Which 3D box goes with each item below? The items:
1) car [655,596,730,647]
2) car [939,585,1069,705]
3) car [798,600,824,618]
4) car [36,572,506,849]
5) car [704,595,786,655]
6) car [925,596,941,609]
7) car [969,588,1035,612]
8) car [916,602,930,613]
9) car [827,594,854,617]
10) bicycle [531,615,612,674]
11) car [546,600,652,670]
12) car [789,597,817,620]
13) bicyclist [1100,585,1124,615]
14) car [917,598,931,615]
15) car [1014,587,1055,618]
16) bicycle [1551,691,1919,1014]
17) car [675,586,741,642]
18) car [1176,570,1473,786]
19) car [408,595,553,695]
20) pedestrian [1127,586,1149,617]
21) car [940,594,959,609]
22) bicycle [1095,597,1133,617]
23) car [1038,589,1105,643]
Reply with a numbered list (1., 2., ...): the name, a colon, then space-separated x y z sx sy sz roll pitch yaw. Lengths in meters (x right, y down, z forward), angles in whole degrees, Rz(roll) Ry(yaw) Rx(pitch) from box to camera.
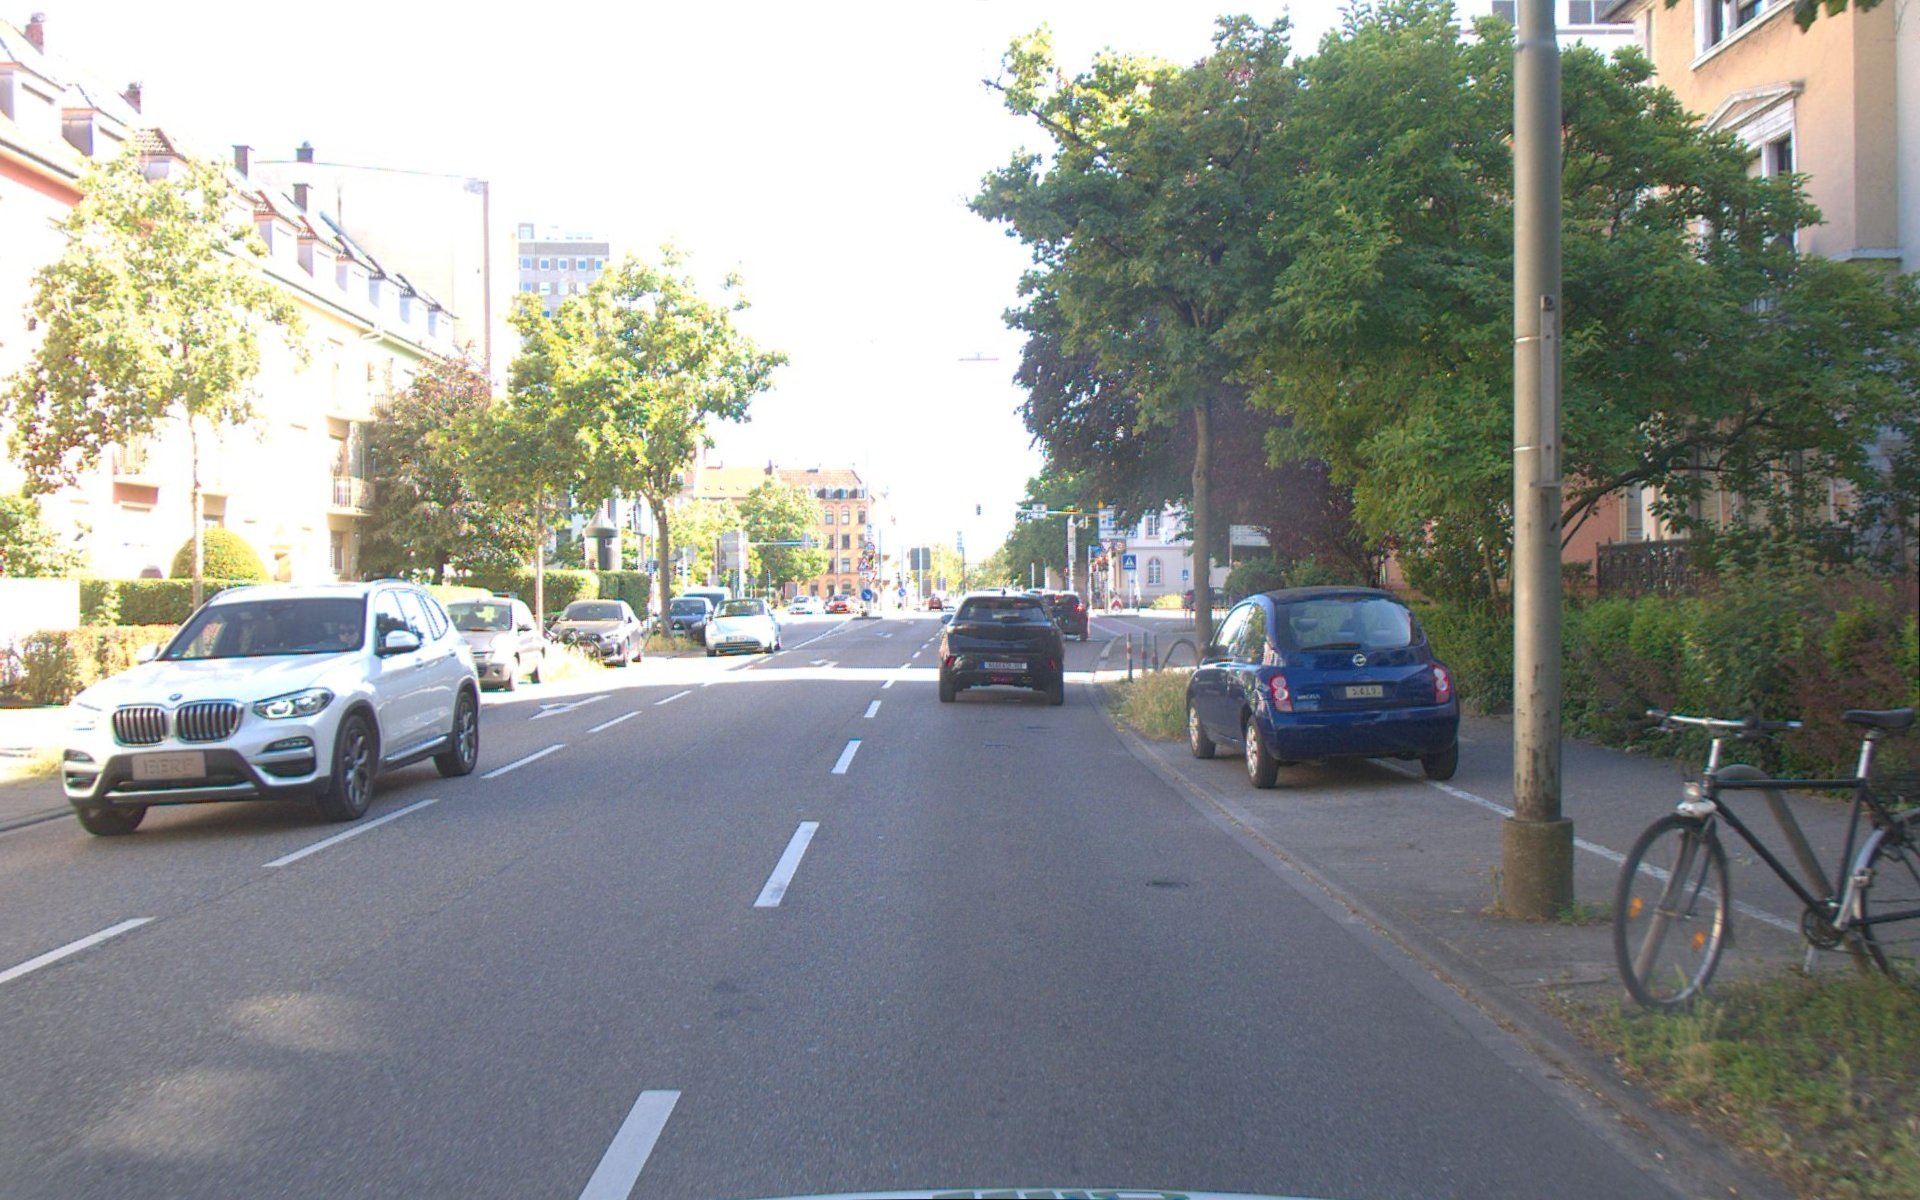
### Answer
1. car: -8.174 0.638 50.805 1.637 1.482 4.110 -1 0 0
2. car: 0.574 0.606 24.071 1.710 1.601 3.557 1 0 -1
3. car: -12.739 0.737 141.650 1.836 1.473 3.999 -1 0 -1
4. car: -5.059 0.693 12.954 1.770 1.676 4.671 -3 0 -2
5. car: -5.592 0.618 43.364 1.702 1.405 3.935 -2 1 -2
6. car: -3.101 0.298 190.322 1.773 1.431 4.000 -1 0 0
7. car: 2.624 0.008 103.719 3.802 1.478 1.773 -1 0 32
8. car: -5.092 1.045 227.131 1.836 1.473 3.999 -1 0 -1
9. car: -9.134 0.395 126.228 1.754 1.645 4.000 -1 0 0
10. bicycle: -8.022 0.922 34.199 1.512 1.154 0.548 -1 0 -3
11. car: -8.078 0.743 37.324 1.733 1.433 4.362 0 1 -4
12. car: -12.140 0.642 127.970 1.836 1.645 3.999 -1 0 -1
13. bicyclist: 8.399 0.006 91.278 1.147 1.662 0.726 0 0 -18
14. car: -4.812 0.908 218.612 1.773 2.172 3.999 -1 0 -1
15. car: 3.650 0.102 81.418 1.793 1.478 3.987 -1 0 0
16. bicycle: 3.072 0.872 5.882 1.702 1.040 0.524 -3 -3 6
17. car: -8.722 0.463 57.591 1.782 1.866 4.560 0 0 -3
18. car: 2.980 0.575 14.242 1.528 1.541 3.652 -3 0 -3
19. car: -8.169 0.718 28.467 1.642 1.552 3.655 1 0 -4
20. pedestrian: 9.641 0.078 89.616 1.020 1.689 0.783 -1 0 -4
21. car: -1.296 0.178 203.772 2.132 1.728 3.997 -1 0 -4
22. bicycle: 8.509 0.378 91.313 2.000 1.079 0.619 0 0 -18
23. car: 3.468 0.471 52.112 1.793 1.606 3.839 -1 0 0
